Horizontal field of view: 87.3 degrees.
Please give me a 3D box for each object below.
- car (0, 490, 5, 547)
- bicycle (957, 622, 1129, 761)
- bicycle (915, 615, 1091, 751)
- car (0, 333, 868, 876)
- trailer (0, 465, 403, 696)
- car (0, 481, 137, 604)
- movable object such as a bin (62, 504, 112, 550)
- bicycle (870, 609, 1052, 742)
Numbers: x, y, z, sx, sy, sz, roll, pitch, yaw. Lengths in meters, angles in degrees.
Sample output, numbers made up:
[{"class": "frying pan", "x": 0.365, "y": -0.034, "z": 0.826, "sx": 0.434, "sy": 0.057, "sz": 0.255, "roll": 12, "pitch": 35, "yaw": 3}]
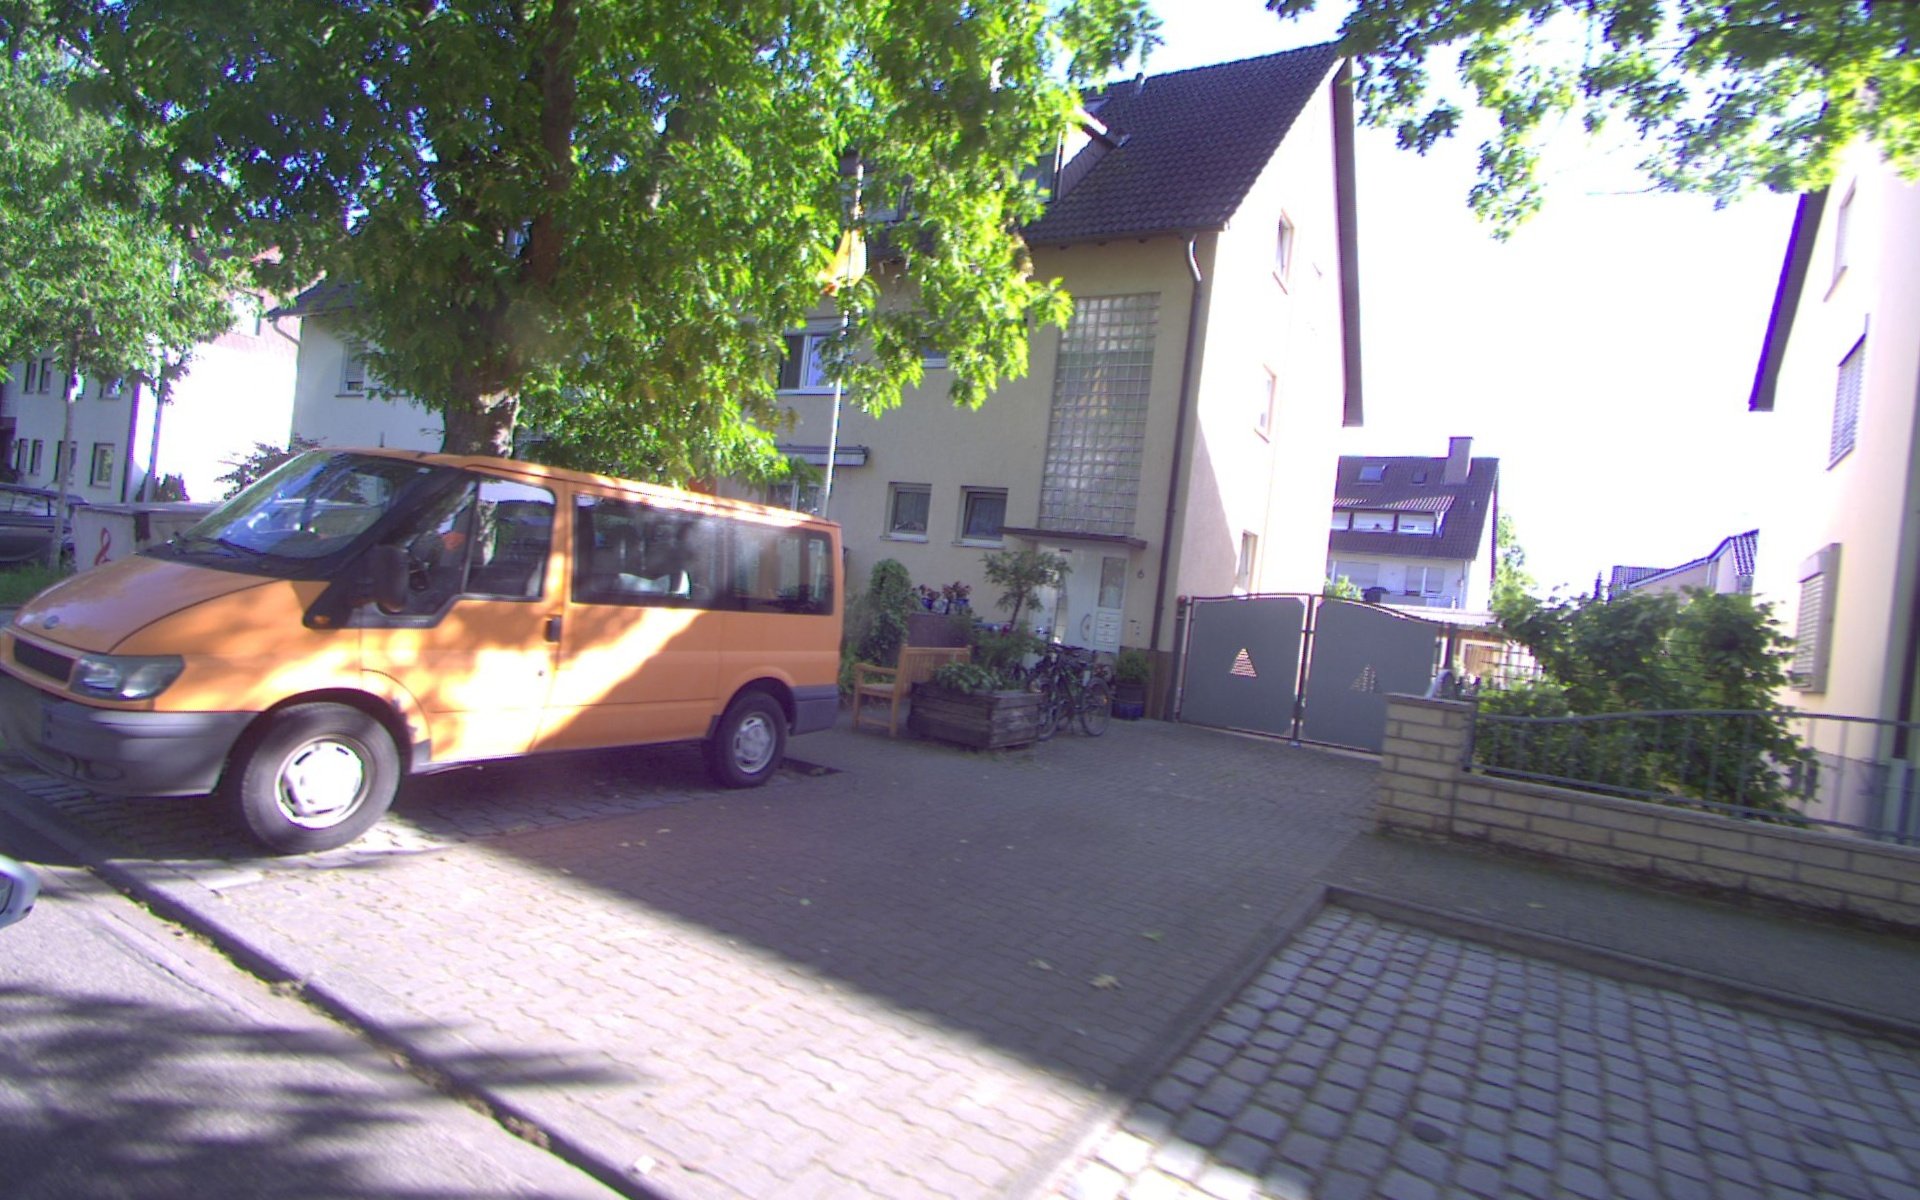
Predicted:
[{"class": "car", "x": -18.818, "y": -1.391, "z": 16.745, "sx": 1.633, "sy": 1.534, "sz": 3.887, "roll": 6, "pitch": -1, "yaw": 31}, {"class": "bicycle", "x": 0.968, "y": 0.926, "z": 10.664, "sx": 0.460, "sy": 1.253, "sz": 2.860, "roll": 6, "pitch": 0, "yaw": 32}, {"class": "bicycle", "x": 0.557, "y": 0.854, "z": 10.902, "sx": 0.460, "sy": 1.253, "sz": 2.859, "roll": 6, "pitch": 1, "yaw": 32}, {"class": "car", "x": -2.956, "y": 0.097, "z": 6.489, "sx": 2.051, "sy": 2.109, "sz": 4.825, "roll": 7, "pitch": 0, "yaw": 31}, {"class": "trailer", "x": -6.944, "y": -0.160, "z": 9.040, "sx": 1.586, "sy": 1.686, "sz": 2.950, "roll": 6, "pitch": 1, "yaw": 26}, {"class": "car", "x": -14.640, "y": -0.965, "z": 14.399, "sx": 1.727, "sy": 1.643, "sz": 3.994, "roll": 6, "pitch": -1, "yaw": 29}, {"class": "movable object such as a bin", "x": -23.589, "y": -1.969, "z": 27.183, "sx": 0.891, "sy": 1.112, "sz": 0.704, "roll": 6, "pitch": 0, "yaw": 30}, {"class": "bicycle", "x": 0.108, "y": 0.812, "z": 11.102, "sx": 0.460, "sy": 1.253, "sz": 2.860, "roll": 7, "pitch": 1, "yaw": 32}]
